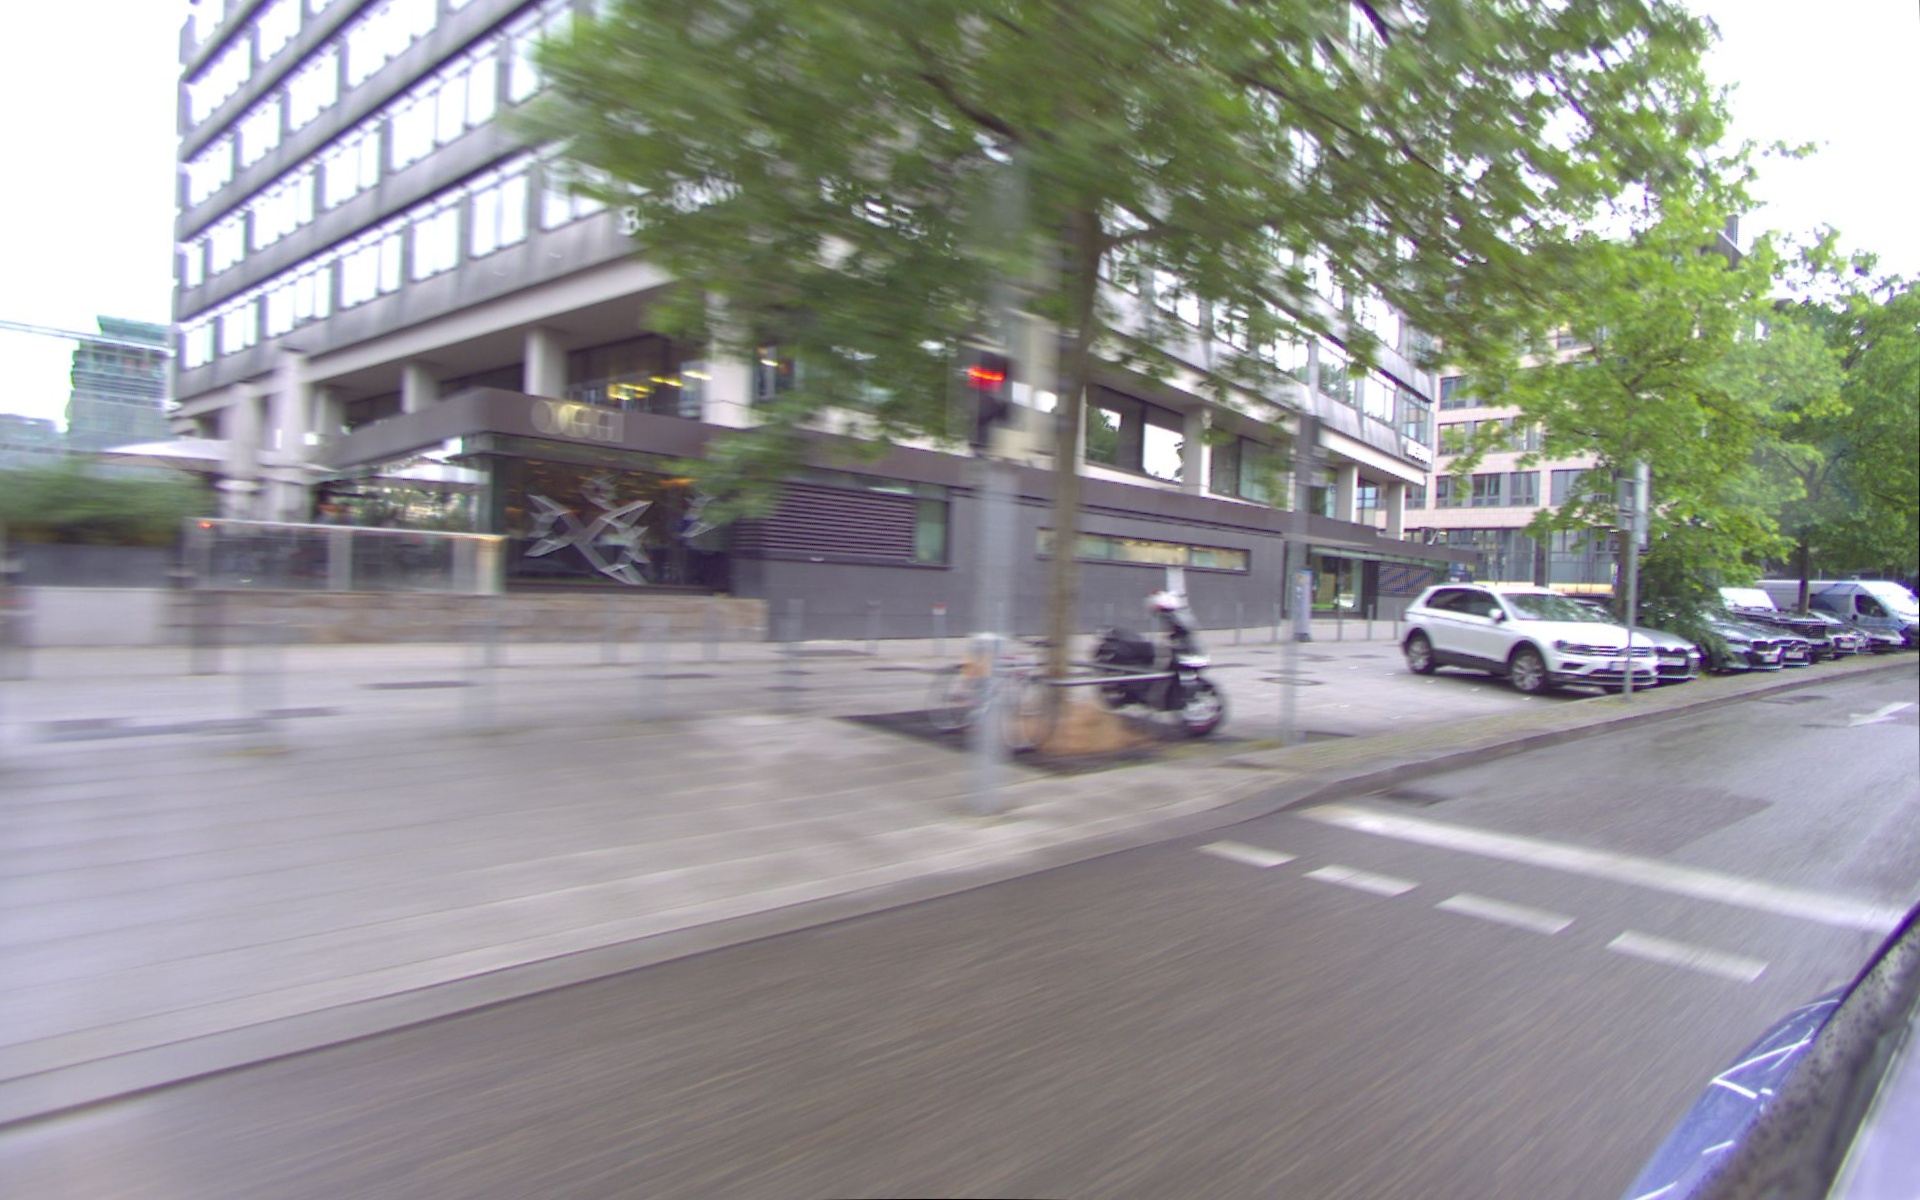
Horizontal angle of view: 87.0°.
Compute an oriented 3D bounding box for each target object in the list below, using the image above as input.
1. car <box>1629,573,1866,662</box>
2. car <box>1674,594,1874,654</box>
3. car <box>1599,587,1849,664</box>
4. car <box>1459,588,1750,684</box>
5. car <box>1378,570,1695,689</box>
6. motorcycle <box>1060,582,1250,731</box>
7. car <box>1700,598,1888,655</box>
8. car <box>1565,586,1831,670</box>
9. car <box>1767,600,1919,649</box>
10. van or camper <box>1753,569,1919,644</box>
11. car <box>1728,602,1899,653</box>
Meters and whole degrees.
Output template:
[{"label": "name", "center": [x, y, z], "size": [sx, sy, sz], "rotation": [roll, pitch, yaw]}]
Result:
[{"label": "car", "center": [19.491, 0.369, 25.349], "size": [1.882, 2.018, 4.527], "rotation": [1, 1, -11]}, {"label": "car", "center": [21.899, 0.599, 27.453], "size": [1.700, 1.442, 4.069], "rotation": [1, 1, -11]}, {"label": "car", "center": [17.427, 0.521, 23.397], "size": [1.876, 1.557, 4.400], "rotation": [1, 1, -13]}, {"label": "car", "center": [11.605, 0.561, 18.728], "size": [1.877, 1.492, 4.730], "rotation": [1, 1, -8]}, {"label": "car", "center": [9.201, 0.386, 16.758], "size": [1.877, 1.671, 4.813], "rotation": [1, 1, -10]}, {"label": "motorcycle", "center": [1.965, 0.515, 10.532], "size": [0.664, 1.374, 2.091], "rotation": [1, 1, -32]}, {"label": "car", "center": [23.973, 0.719, 29.304], "size": [1.673, 1.442, 4.021], "rotation": [1, 1, -11]}, {"label": "car", "center": [15.434, 0.514, 21.513], "size": [1.876, 1.557, 4.367], "rotation": [1, 1, -13]}, {"label": "car", "center": [29.633, 0.792, 33.798], "size": [1.673, 1.442, 4.069], "rotation": [1, 1, -11]}, {"label": "van or camper", "center": [32.322, 0.198, 36.213], "size": [2.267, 2.478, 6.277], "rotation": [1, 1, -10]}, {"label": "car", "center": [27.439, 0.838, 32.723], "size": [1.673, 1.442, 4.069], "rotation": [1, 1, -11]}]
